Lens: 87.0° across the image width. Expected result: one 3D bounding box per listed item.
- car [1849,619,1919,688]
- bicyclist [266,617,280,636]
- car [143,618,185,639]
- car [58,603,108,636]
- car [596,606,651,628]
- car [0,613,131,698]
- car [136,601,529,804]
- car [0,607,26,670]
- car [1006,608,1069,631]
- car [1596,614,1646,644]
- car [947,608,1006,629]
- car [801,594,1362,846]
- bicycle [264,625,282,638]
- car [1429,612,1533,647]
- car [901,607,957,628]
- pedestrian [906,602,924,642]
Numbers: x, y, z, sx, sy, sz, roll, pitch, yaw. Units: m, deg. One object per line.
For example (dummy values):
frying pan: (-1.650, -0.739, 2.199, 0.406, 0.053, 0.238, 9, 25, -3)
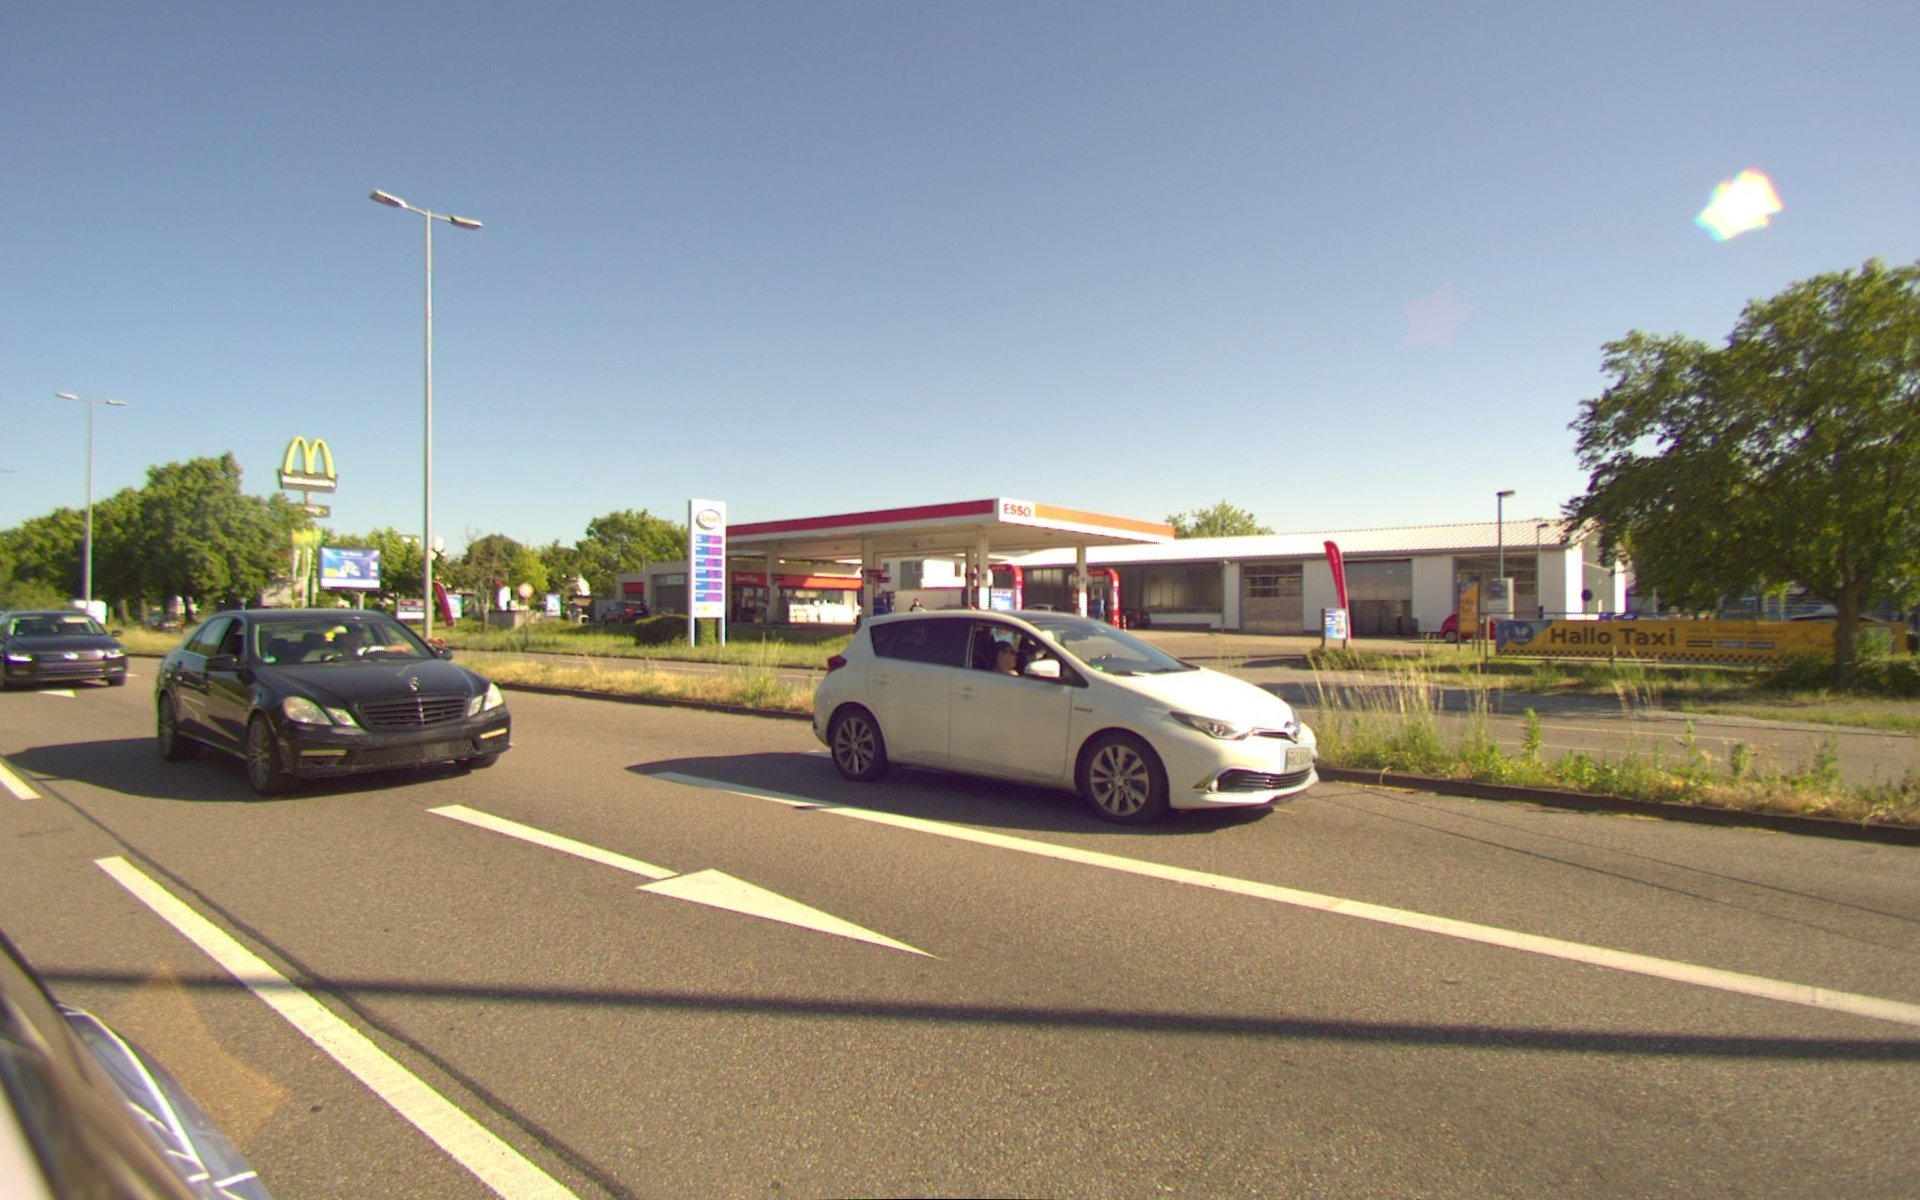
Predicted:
car: (25.776, 1.399, 26.307, 3.999, 1.697, 1.848, 0, 0, 42)
bicyclist: (-48.257, 1.834, 71.104, 0.700, 1.298, 0.621, 0, 0, 41)
car: (-62.229, 2.195, 79.099, 4.476, 1.502, 1.740, 0, -4, 41)
car: (-70.627, 1.549, 81.494, 5.817, 2.466, 2.002, 0, -4, 40)
car: (-22.472, 1.127, 67.557, 3.975, 1.420, 1.661, 0, 0, 40)
car: (-17.778, 0.995, 19.701, 4.283, 1.438, 1.775, -1, 0, 40)
car: (-6.013, 0.750, 9.480, 4.399, 1.449, 1.845, 0, 0, 40)
car: (-26.818, 1.040, 27.478, 3.876, 1.629, 1.653, -1, 0, 40)
car: (5.169, 1.286, 67.487, 3.975, 1.420, 1.661, 0, -3, 40)
car: (33.665, 1.440, 51.517, 1.653, 1.375, 3.723, 0, 0, 41)
car: (1.146, 1.283, 71.206, 3.975, 1.420, 1.661, 0, -3, 40)
car: (0.784, 0.714, 8.080, 4.194, 1.501, 1.741, 0, 0, 40)
bicycle: (-48.223, 2.188, 71.059, 1.741, 0.874, 0.621, 0, 0, 42)
car: (24.291, 1.341, 47.267, 1.757, 1.528, 4.003, -1, 1, -44)
car: (-2.268, 1.284, 73.986, 3.975, 1.420, 1.661, 0, -3, 40)
pedestrian: (-2.053, 0.986, 45.992, 0.780, 1.763, 0.904, 0, 0, 0)
